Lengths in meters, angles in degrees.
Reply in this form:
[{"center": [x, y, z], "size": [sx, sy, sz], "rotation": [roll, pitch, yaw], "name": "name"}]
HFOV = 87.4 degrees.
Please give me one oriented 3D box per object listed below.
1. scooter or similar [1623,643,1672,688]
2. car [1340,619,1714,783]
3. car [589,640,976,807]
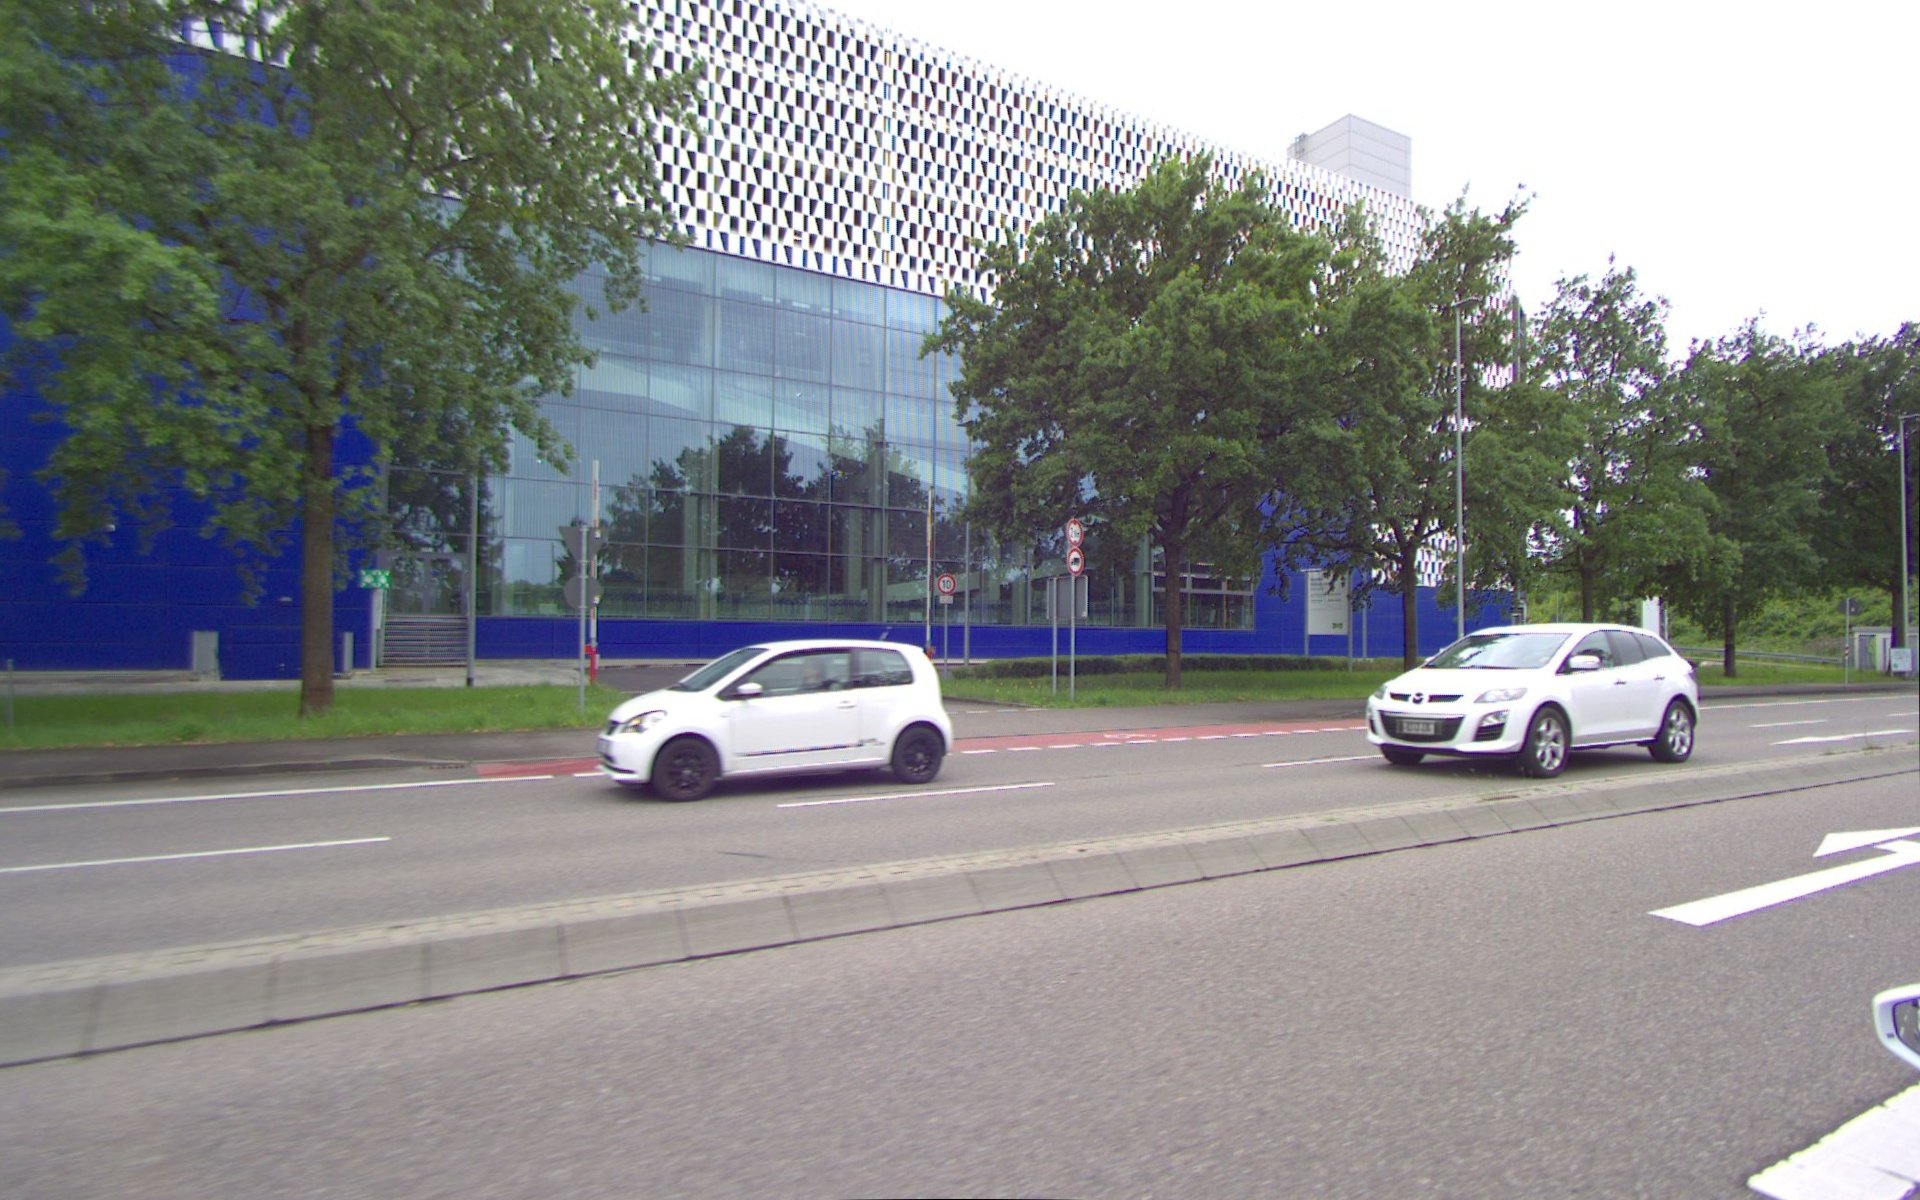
[{"center": [21.070, 2.007, 30.770], "size": [1.482, 1.339, 0.446], "rotation": [1, -2, -20], "name": "scooter or similar"}, {"center": [6.729, 1.094, 11.824], "size": [4.460, 1.607, 1.810], "rotation": [1, -4, -30], "name": "car"}, {"center": [-1.800, 1.159, 10.395], "size": [3.608, 1.447, 1.669], "rotation": [1, -3, -30], "name": "car"}]
